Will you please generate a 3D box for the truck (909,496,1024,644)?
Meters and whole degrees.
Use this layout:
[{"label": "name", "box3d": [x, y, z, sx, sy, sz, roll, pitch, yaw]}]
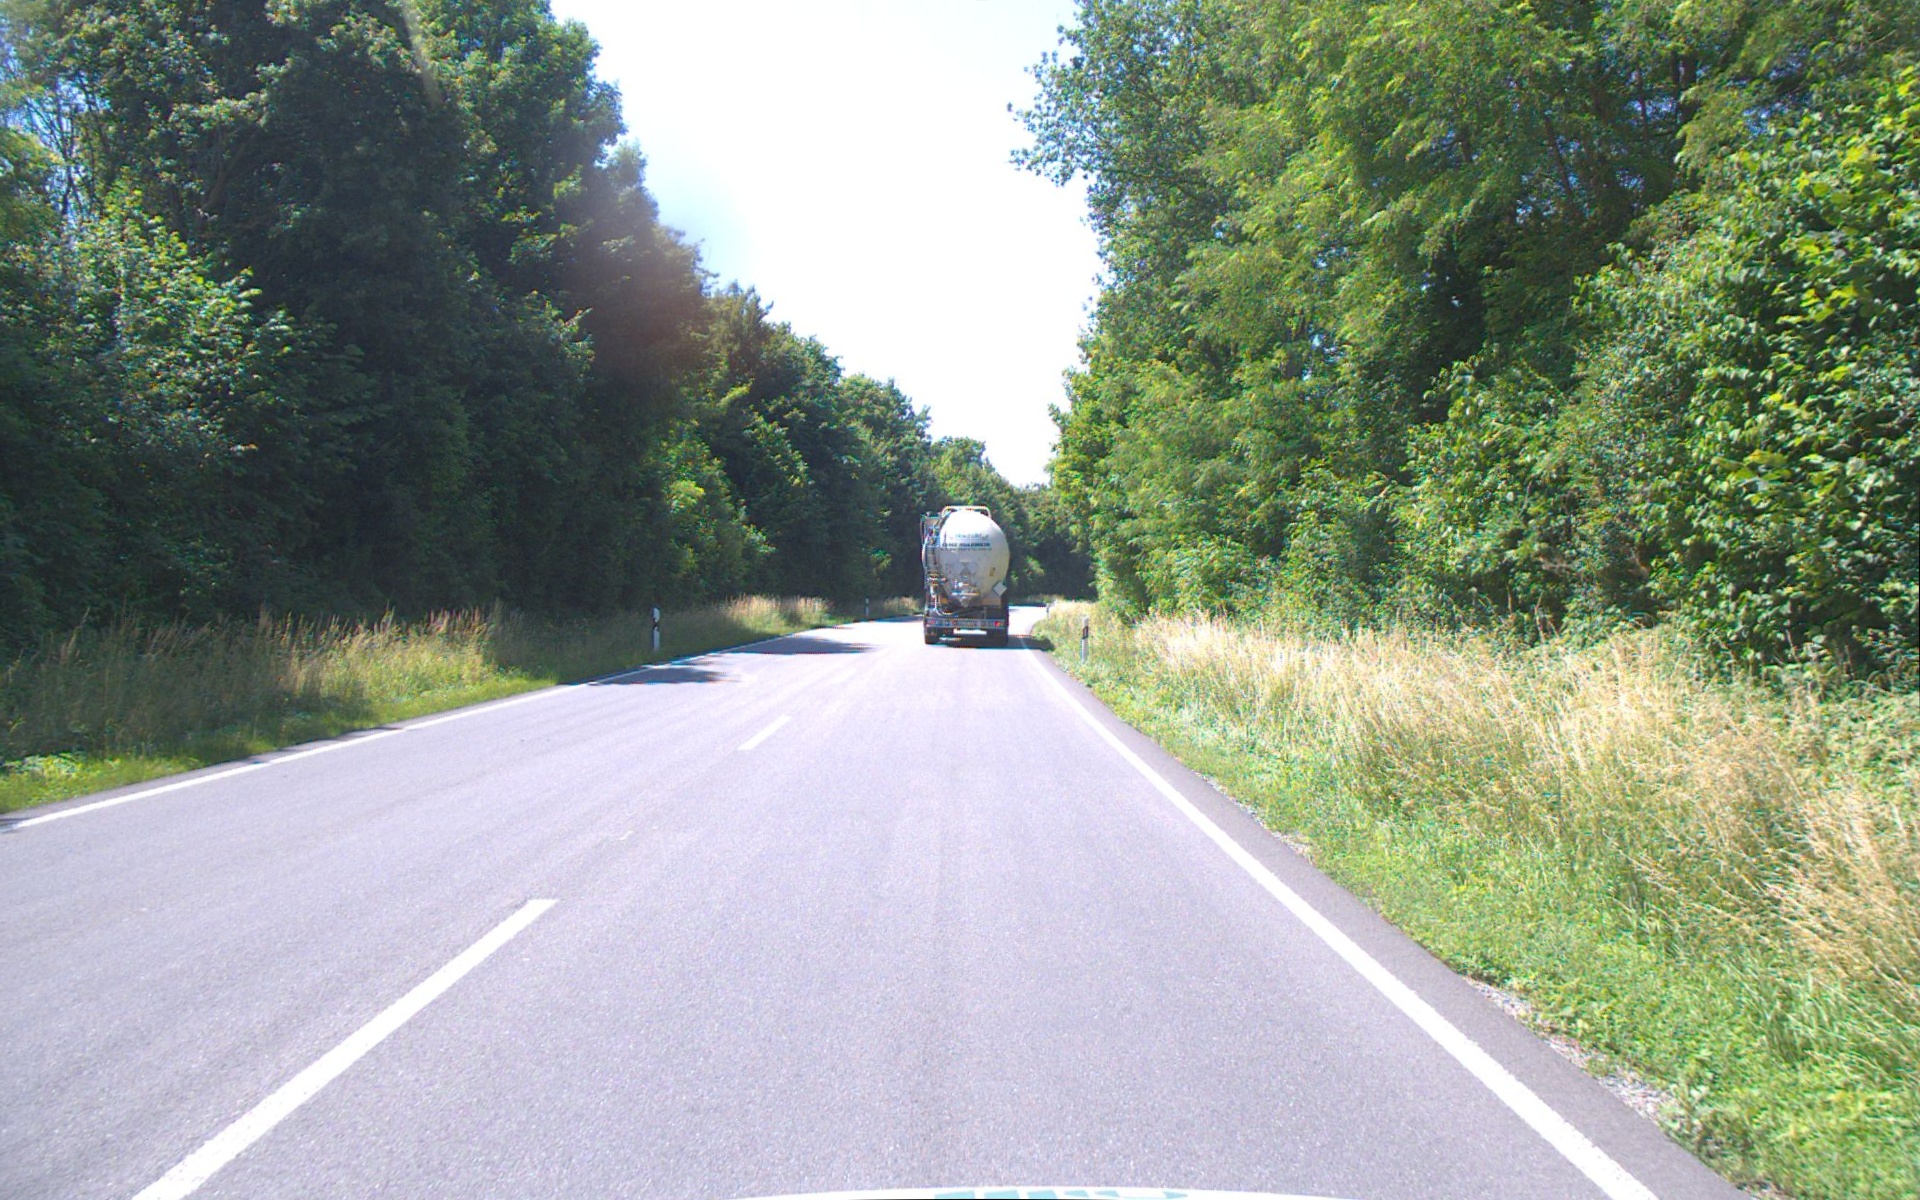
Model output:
[{"label": "truck", "box3d": [-0.062, -0.899, 53.795, 2.988, 4.068, 15.629, 1, 0, -2]}]
